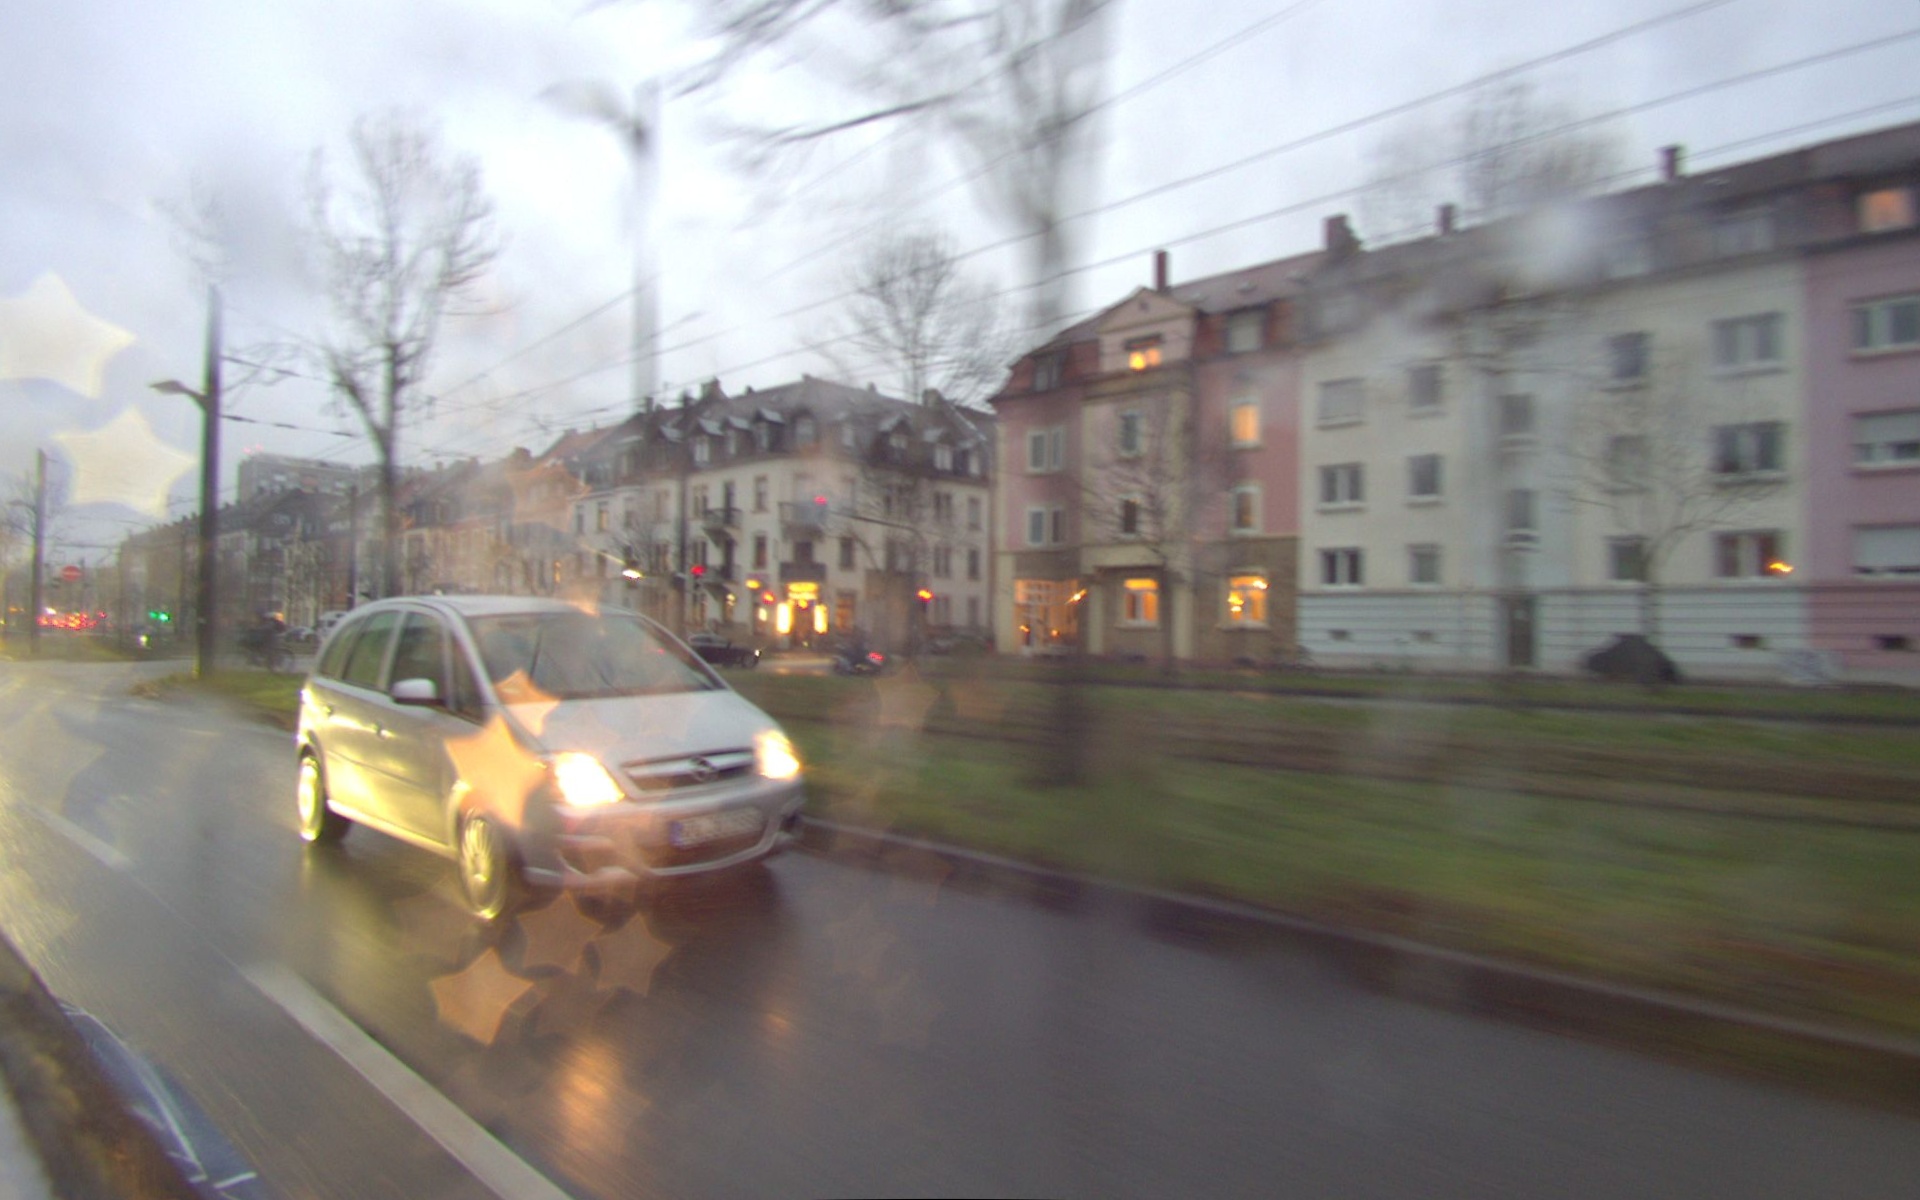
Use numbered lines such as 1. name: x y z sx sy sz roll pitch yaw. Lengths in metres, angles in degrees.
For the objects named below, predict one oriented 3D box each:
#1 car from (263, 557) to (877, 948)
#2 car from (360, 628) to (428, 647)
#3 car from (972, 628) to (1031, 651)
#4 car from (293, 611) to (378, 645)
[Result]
1. car: -2.571 0.658 6.181 4.050 1.612 1.791 -1 -1 40
2. car: -41.650 2.736 74.590 3.935 1.342 2.004 1 -2 -10
3. car: 2.747 2.558 66.045 1.794 1.497 3.945 -1 -2 41
4. car: -52.755 2.387 85.573 5.776 2.819 2.003 1 -2 -6
